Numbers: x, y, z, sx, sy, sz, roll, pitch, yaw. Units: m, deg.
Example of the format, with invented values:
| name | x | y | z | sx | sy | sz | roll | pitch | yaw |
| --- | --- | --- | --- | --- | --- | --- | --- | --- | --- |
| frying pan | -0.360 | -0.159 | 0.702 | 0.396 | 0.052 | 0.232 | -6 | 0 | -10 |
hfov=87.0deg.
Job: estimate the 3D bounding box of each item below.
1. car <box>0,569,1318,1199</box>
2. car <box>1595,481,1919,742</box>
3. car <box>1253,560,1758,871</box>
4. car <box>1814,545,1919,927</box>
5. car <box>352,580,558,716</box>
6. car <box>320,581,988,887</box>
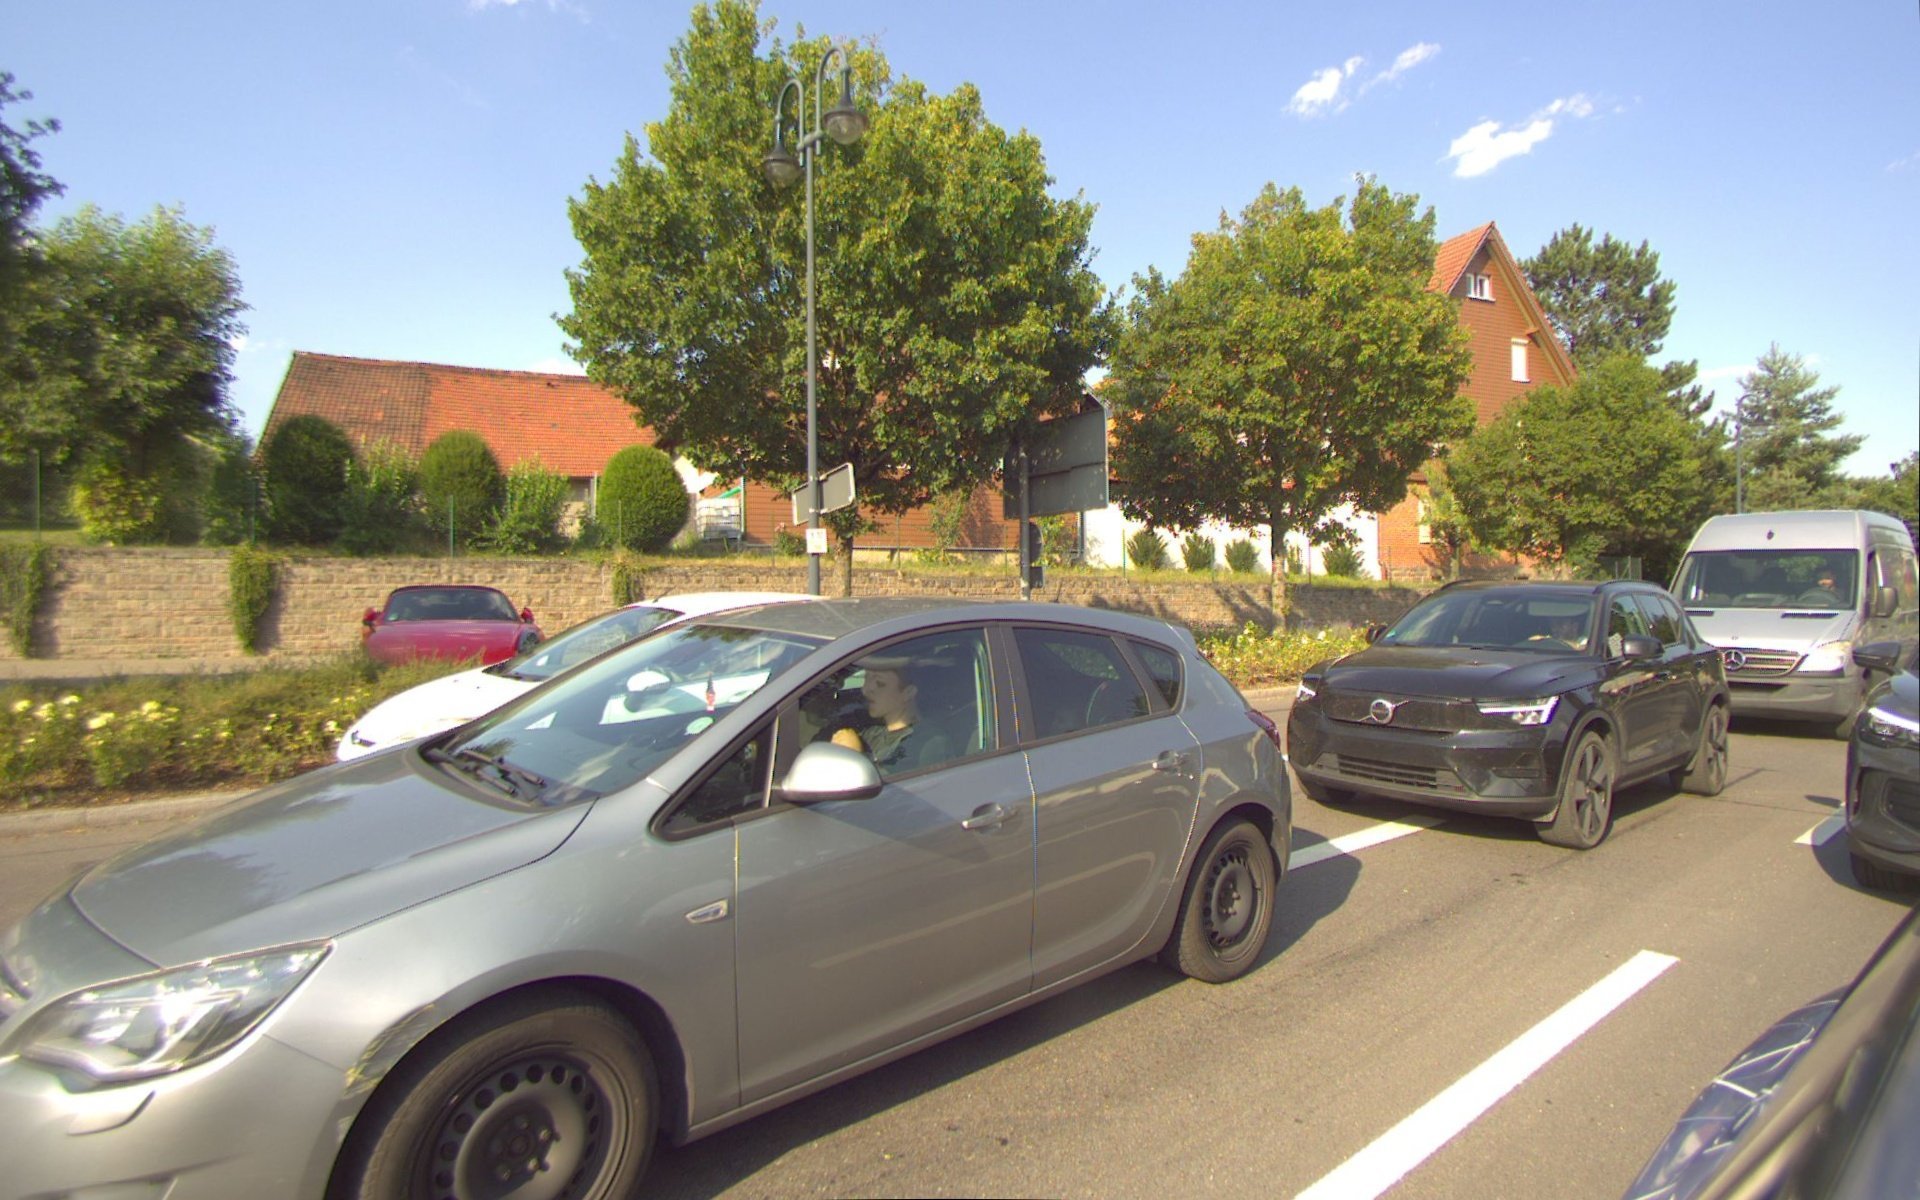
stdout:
| name | x | y | z | sx | sy | sz | roll | pitch | yaw |
| --- | --- | --- | --- | --- | --- | --- | --- | --- | --- |
| car | -0.625 | 0.669 | 3.468 | 4.095 | 1.460 | 1.746 | 0 | 0 | -41 |
| car | 10.511 | 0.092 | 12.894 | 6.082 | 2.579 | 2.369 | 0 | 0 | -40 |
| car | 4.099 | 0.589 | 7.339 | 4.054 | 1.629 | 1.885 | 0 | 0 | -40 |
| car | 6.360 | 0.593 | 5.497 | 4.646 | 1.677 | 1.893 | 0 | 0 | -40 |
| car | -5.848 | 0.440 | 11.741 | 1.816 | 1.288 | 4.005 | 0 | 0 | -28 |
| car | -1.854 | 0.630 | 6.851 | 3.998 | 1.469 | 1.731 | 0 | 0 | -41 |
